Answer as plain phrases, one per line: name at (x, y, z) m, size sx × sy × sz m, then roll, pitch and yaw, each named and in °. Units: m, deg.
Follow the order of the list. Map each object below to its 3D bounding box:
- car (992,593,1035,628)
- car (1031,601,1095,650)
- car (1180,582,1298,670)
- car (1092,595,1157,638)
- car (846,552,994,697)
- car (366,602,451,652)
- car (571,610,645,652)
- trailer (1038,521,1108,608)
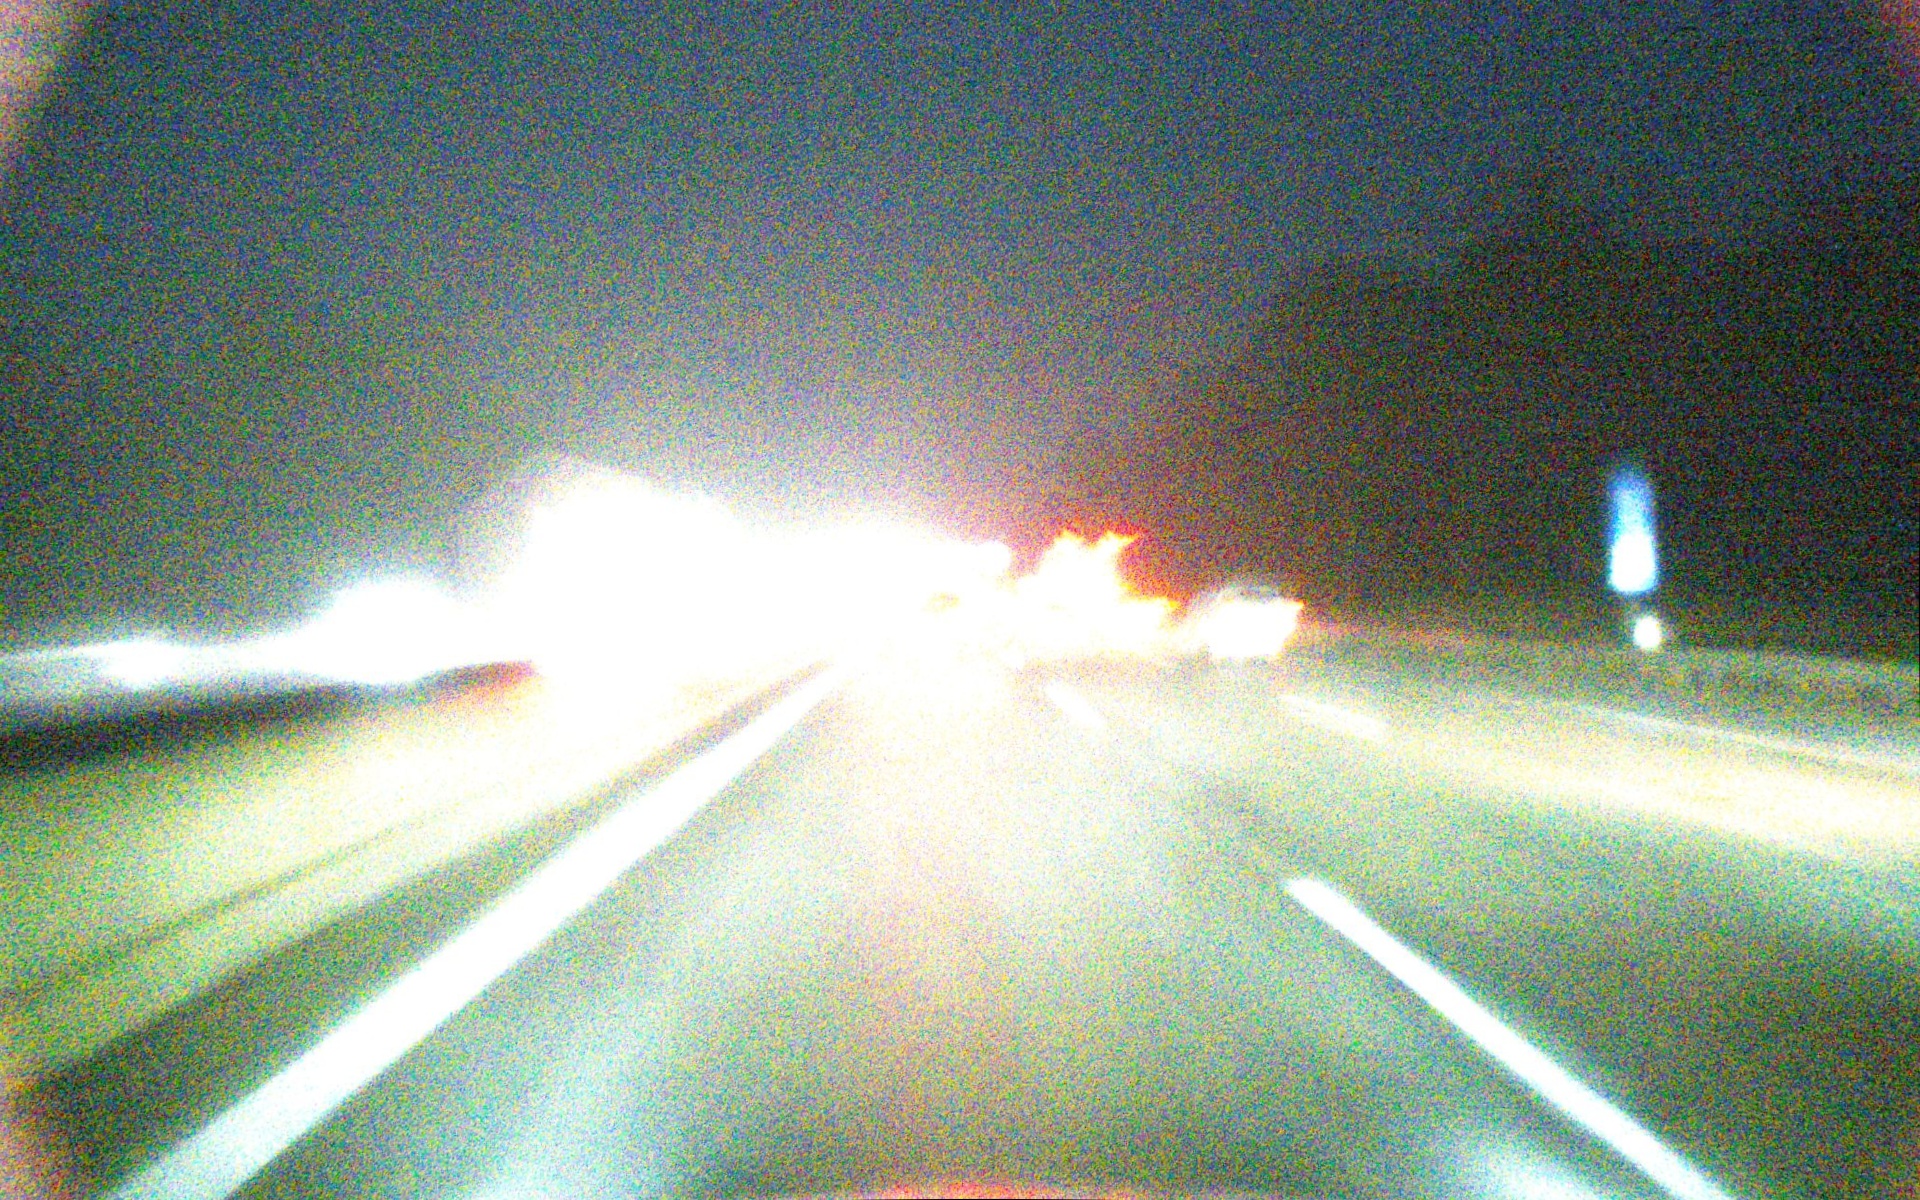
car at (2.491, 0.473, 78.254) m, size 1.846 × 1.616 × 3.999 m, roll 1°, pitch 0°, yaw -1°
car at (3.066, 0.742, 49.957) m, size 1.580 × 1.437 × 3.790 m, roll 0°, pitch 0°, yaw -2°
car at (6.931, 0.586, 41.635) m, size 2.004 × 2.008 × 5.407 m, roll -2°, pitch 1°, yaw 0°
car at (6.320, 0.601, 64.092) m, size 1.856 × 1.512 × 4.960 m, roll 1°, pitch 1°, yaw -2°
car at (-0.851, 0.427, 33.479) m, size 2.655 × 2.578 × 5.828 m, roll -2°, pitch 1°, yaw -2°
car at (-24.068, 1.135, 72.408) m, size 1.953 × 1.982 × 5.385 m, roll -2°, pitch 0°, yaw -1°
car at (-13.657, 1.183, 64.405) m, size 1.953 × 1.440 × 4.589 m, roll -2°, pitch 0°, yaw -1°
trailer at (5.929, -1.789, 88.699) m, size 2.747 × 4.286 × 12.094 m, roll 1°, pitch 0°, yaw -1°
